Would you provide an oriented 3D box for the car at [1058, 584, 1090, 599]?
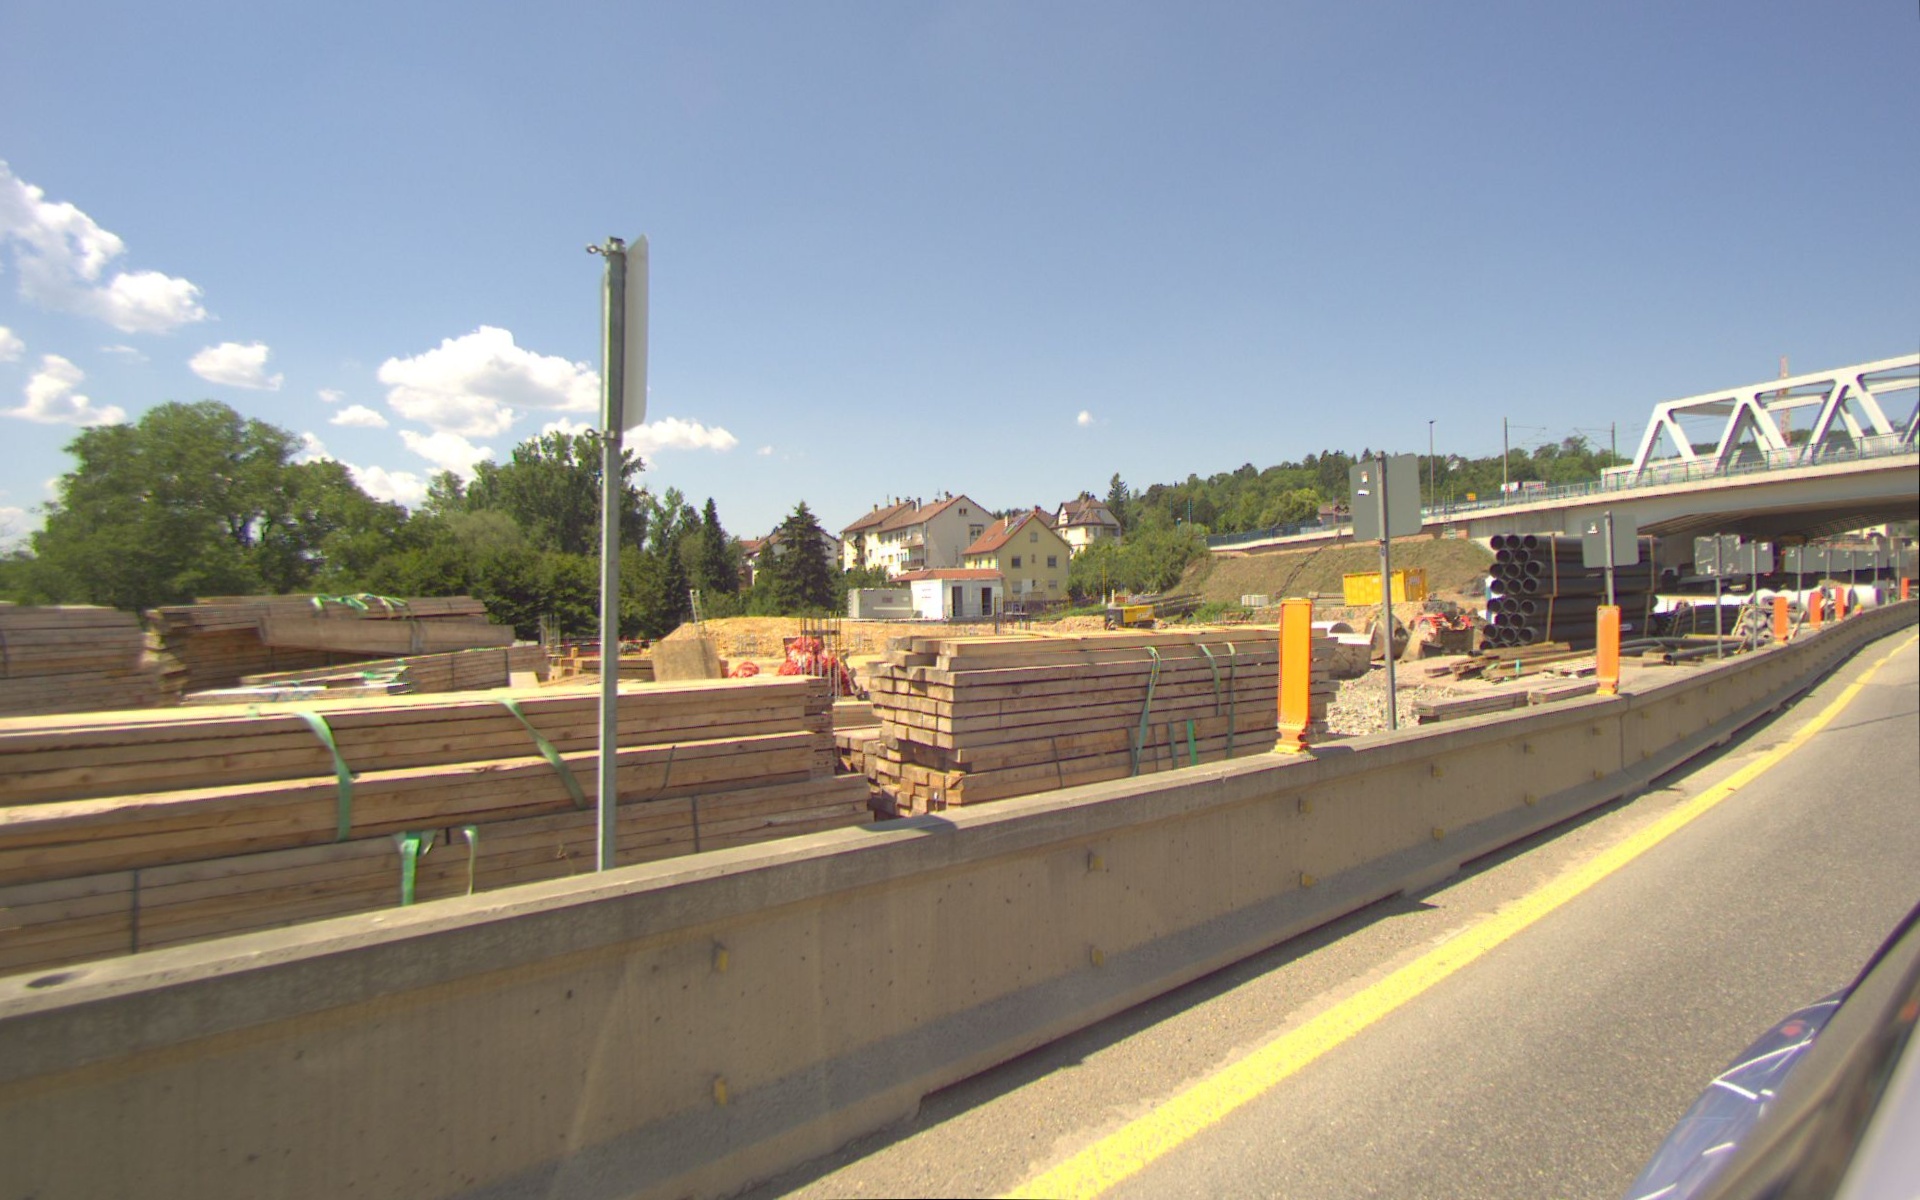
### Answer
[{"bbox_3d":[13.156,-1.017,116.862,1.547,1.526,4.173,-5,3,-27],"label":"car"}]

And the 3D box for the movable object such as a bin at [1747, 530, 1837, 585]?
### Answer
[{"bbox_3d":[59.463,-3.002,72.433,2.843,3.586,3.901,-4,1,-19],"label":"movable object such as a bin"}]

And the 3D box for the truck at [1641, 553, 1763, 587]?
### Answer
[{"bbox_3d":[53.502,-2.117,73.172,2.612,2.099,6.551,-3,1,-27],"label":"truck"}]

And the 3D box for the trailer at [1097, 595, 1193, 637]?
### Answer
[{"bbox_3d":[7.558,0.632,41.261,3.754,1.504,1.629,-3,1,-34],"label":"trailer"}]

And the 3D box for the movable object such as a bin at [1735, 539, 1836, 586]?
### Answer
[{"bbox_3d":[61.996,-2.772,76.109,2.447,3.094,5.264,-5,1,-26],"label":"movable object such as a bin"}]

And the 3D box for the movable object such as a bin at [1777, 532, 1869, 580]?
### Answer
[{"bbox_3d":[68.024,-3.446,79.860,2.931,3.327,4.574,-5,1,-26],"label":"movable object such as a bin"}]
